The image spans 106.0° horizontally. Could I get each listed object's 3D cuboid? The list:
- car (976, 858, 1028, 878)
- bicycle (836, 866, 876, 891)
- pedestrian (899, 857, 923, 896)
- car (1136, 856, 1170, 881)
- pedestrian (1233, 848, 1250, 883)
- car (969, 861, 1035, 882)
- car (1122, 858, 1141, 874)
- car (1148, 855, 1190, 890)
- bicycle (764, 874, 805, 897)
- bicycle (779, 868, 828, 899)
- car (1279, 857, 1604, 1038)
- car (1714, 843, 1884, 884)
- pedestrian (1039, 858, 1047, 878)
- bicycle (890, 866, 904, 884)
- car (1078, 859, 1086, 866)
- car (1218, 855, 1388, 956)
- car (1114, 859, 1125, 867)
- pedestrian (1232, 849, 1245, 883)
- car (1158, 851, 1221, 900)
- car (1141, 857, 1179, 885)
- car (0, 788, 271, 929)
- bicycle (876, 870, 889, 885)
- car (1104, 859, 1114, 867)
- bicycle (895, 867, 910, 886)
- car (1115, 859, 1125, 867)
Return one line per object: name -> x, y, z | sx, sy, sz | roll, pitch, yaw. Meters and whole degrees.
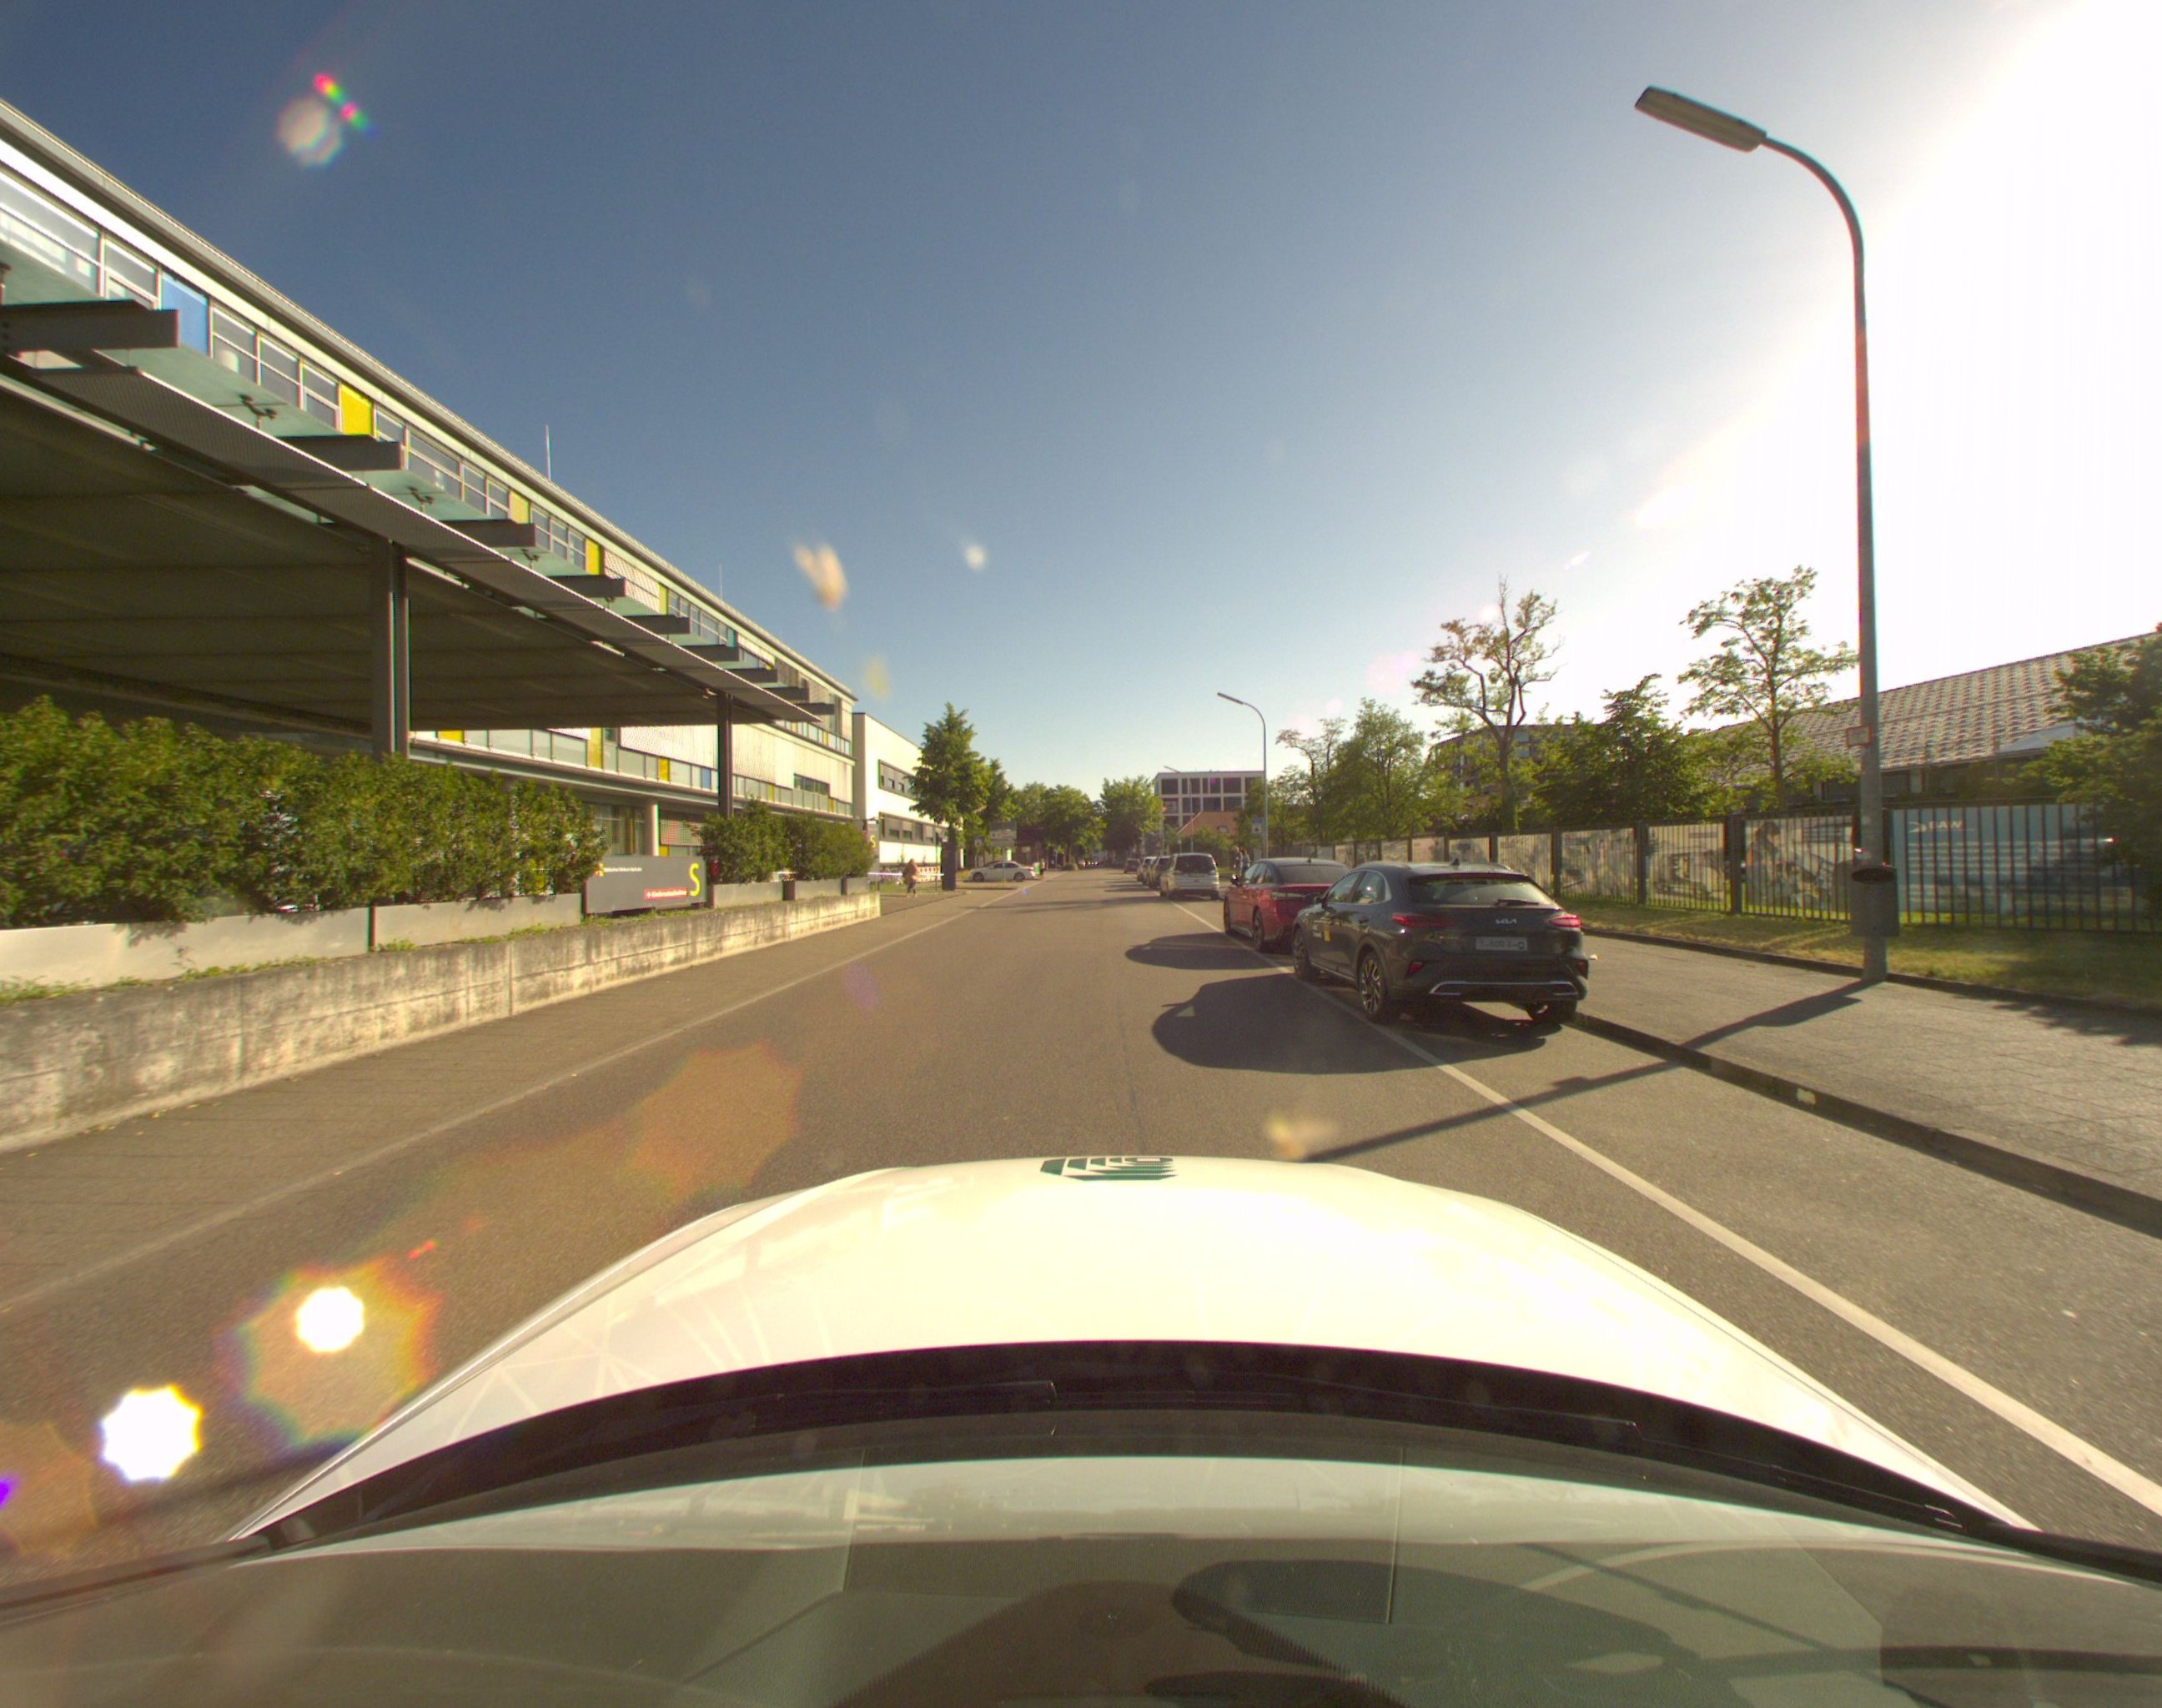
car -> -5.733, 1.017, 59.362 | 3.625, 1.469, 1.613 | 0, 0, -2
bicycle -> -10.492, 1.150, 37.971 | 1.694, 1.121, 0.537 | -2, -1, 6
pedestrian -> -6.808, 0.894, 32.607 | 0.770, 1.549, 0.780 | 1, -1, 1
car -> 4.721, 0.926, 53.854 | 1.807, 1.588, 4.261 | 0, 0, 0
pedestrian -> 7.658, 0.548, 38.779 | 0.679, 1.612, 0.540 | 1, -1, -2
car -> -5.440, 1.194, 56.477 | 4.503, 1.367, 1.697 | 1, -1, -4
car -> 5.063, 1.170, 81.523 | 1.810, 1.453, 4.216 | -1, 0, 2
car -> 4.293, 0.866, 40.281 | 1.694, 1.606, 4.354 | 0, 0, 2
bicycle -> -13.731, 1.453, 37.728 | 1.709, 0.994, 0.536 | -1, -1, -1
bicycle -> -10.837, 1.140, 31.807 | 1.714, 1.123, 0.535 | -1, -1, -9
car -> 3.494, 0.783, 8.839 | 1.695, 1.487, 4.215 | 0, 0, 0
car -> 23.783, 0.311, 27.084 | 4.131, 1.252, 1.827 | 1, -1, -2
pedestrian -> -3.025, 1.114, 64.247 | 0.536, 1.524, 0.607 | -1, -1, 2
bicycle -> -11.826, 1.343, 52.470 | 0.418, 1.123, 1.764 | -1, 0, 2
car -> 0.205, 2.006, 182.807 | 1.761, 1.487, 3.999 | -1, -1, 0
car -> 3.734, 0.791, 14.622 | 1.803, 1.510, 4.722 | 0, 0, 0
car -> 6.672, 1.607, 142.612 | 1.761, 1.440, 3.999 | -1, -1, 0
pedestrian -> 7.819, 0.595, 40.437 | 0.519, 1.708, 0.522 | 1, -1, -1
car -> 4.036, 0.760, 30.964 | 1.803, 1.722, 4.704 | 0, 0, 0
car -> 4.448, 0.939, 46.140 | 1.696, 1.487, 3.978 | 0, 0, -1
car -> -15.489, 0.088, 12.191 | 1.913, 1.891, 4.712 | -1, 0, 1
bicycle -> -12.206, 1.419, 49.991 | 0.367, 0.863, 1.451 | -1, 0, 2
car -> 5.688, 1.871, 166.118 | 1.761, 1.548, 4.065 | -1, -1, 0
bicycle -> -11.060, 1.367, 50.513 | 0.533, 1.111, 1.861 | -1, 0, 0
car -> 8.252, 1.855, 171.598 | 1.943, 1.578, 3.838 | -1, -1, 2
